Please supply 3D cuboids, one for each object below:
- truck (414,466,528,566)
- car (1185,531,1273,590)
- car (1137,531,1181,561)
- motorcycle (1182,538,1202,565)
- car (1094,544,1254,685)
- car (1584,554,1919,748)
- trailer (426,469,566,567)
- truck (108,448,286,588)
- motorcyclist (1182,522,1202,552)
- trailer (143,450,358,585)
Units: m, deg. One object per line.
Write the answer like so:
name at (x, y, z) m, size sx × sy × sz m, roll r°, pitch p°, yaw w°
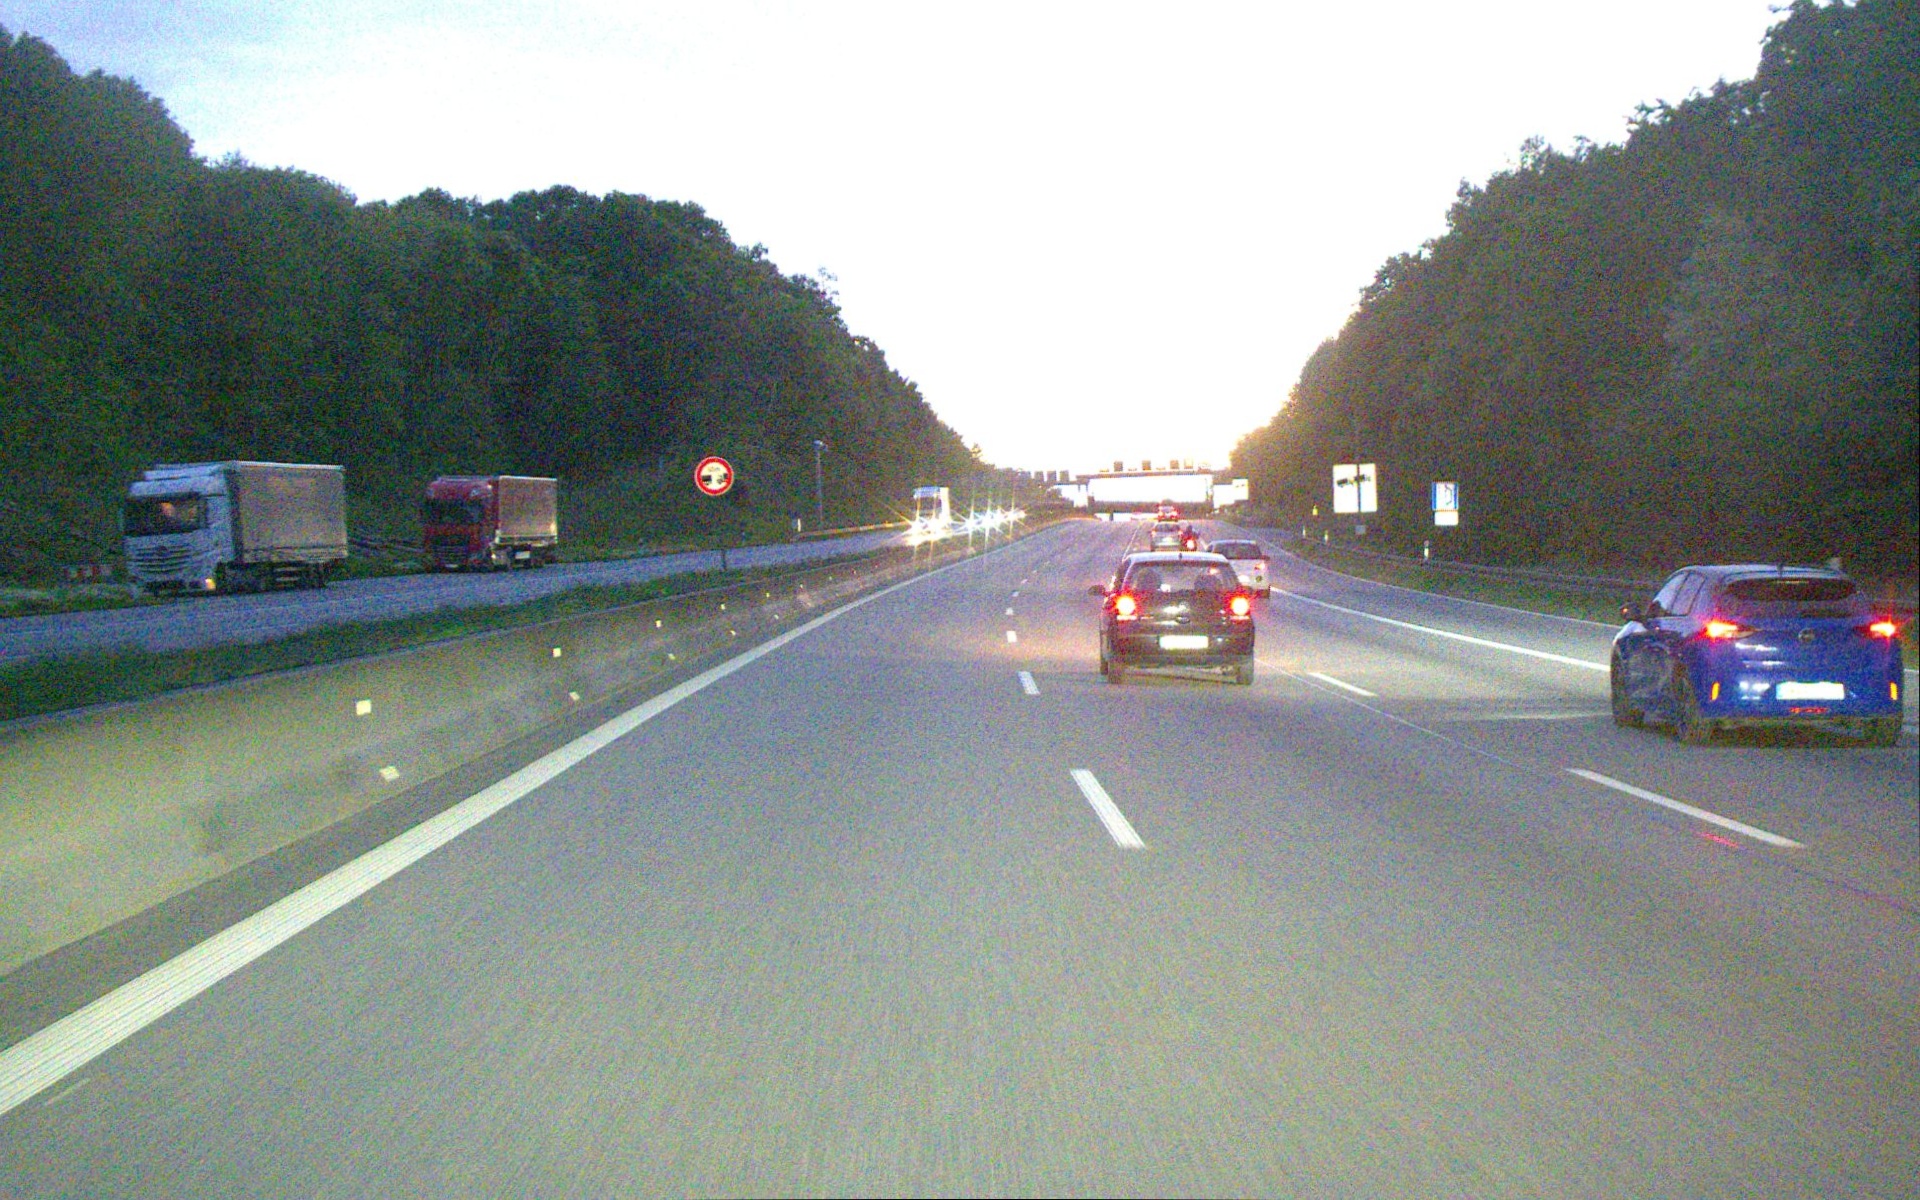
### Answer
truck at (-20.622, -3.535, 145.316) m, size 3.191 × 4.090 × 7.688 m, roll 0°, pitch 1°, yaw 4°
car at (6.872, -0.999, 88.153) m, size 1.825 × 1.471 × 4.399 m, roll 1°, pitch 0°, yaw -1°
car at (10.069, -2.721, 173.985) m, size 1.865 × 1.489 × 4.399 m, roll 1°, pitch 0°, yaw -1°
motorcycle at (10.105, -2.119, 149.837) m, size 0.830 × 1.130 × 2.476 m, roll -1°, pitch 1°, yaw 3°
car at (2.413, 0.141, 39.264) m, size 1.704 × 1.504 × 4.231 m, roll 1°, pitch 0°, yaw 3°
car at (6.499, 0.358, 28.466) m, size 1.865 × 1.431 × 4.584 m, roll 1°, pitch 1°, yaw 1°
trailer at (-20.220, -3.575, 150.903) m, size 3.191 × 4.090 × 14.182 m, roll 0°, pitch 1°, yaw 4°
truck at (-23.098, -2.466, 104.567) m, size 3.191 × 4.090 × 7.688 m, roll 0°, pitch 1°, yaw 4°
motorcyclist at (10.085, -2.738, 149.686) m, size 0.830 × 1.287 × 1.190 m, roll -1°, pitch 1°, yaw 3°
trailer at (-22.670, -2.624, 110.856) m, size 3.191 × 4.090 × 13.739 m, roll 0°, pitch 1°, yaw 4°
